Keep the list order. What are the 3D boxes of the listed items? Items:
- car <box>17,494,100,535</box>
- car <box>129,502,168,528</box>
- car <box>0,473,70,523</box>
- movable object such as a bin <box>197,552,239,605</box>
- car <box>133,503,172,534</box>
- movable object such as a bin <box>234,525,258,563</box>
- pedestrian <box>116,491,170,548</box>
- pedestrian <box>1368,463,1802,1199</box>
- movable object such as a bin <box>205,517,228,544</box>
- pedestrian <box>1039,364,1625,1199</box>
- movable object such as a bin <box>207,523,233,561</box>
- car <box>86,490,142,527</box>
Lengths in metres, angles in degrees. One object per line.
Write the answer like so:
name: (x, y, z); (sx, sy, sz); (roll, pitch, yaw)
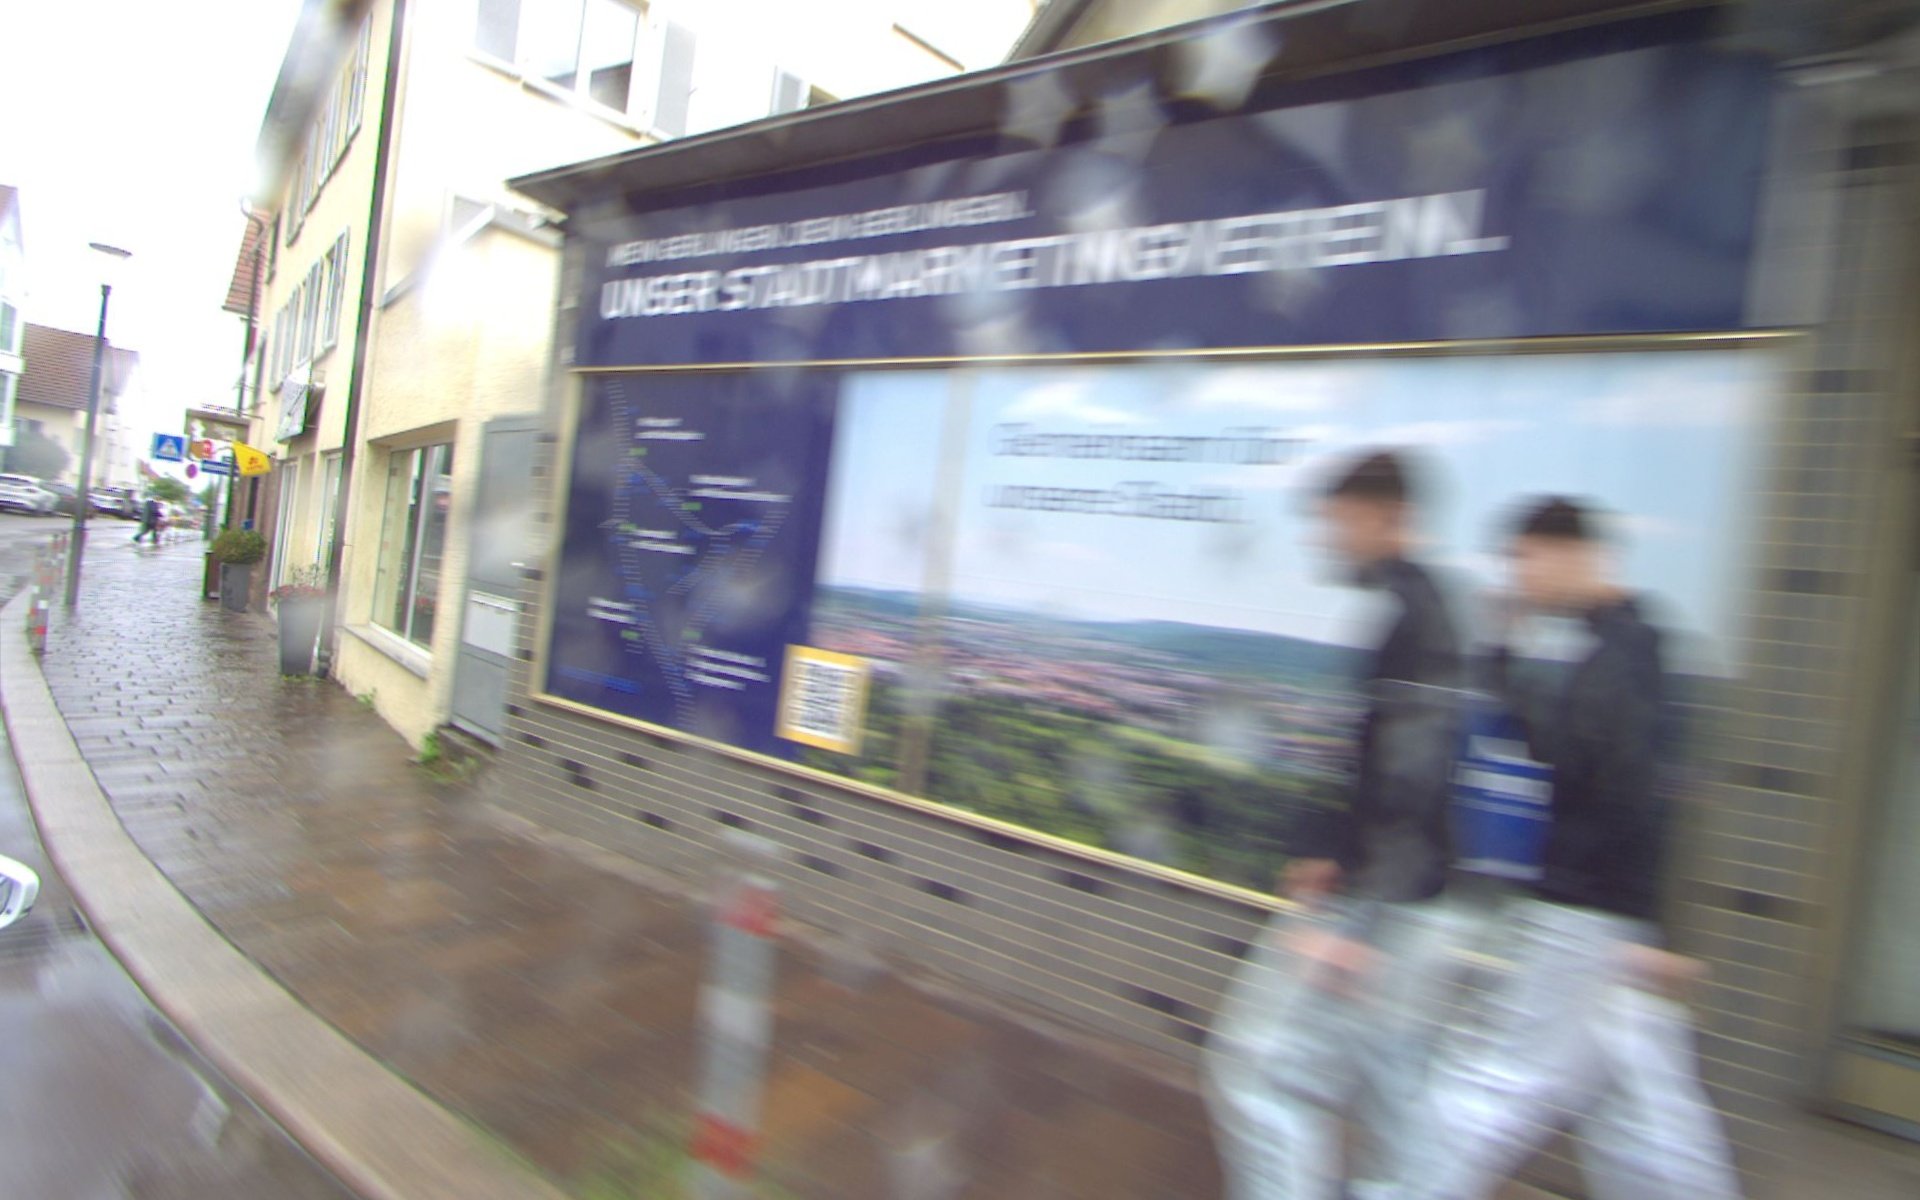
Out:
car: (-41.024, -3.849, 45.913); (1.817, 1.517, 4.725); (7, 0, -31)
car: (-54.505, -5.695, 67.646); (1.672, 1.405, 3.790); (8, -2, -35)
car: (-37.740, -4.116, 40.728); (1.780, 1.568, 3.967); (9, -3, -32)
movable object such as a bin: (-13.170, -0.380, 17.856); (0.543, 0.847, 0.900); (4, 2, -38)
car: (-57.890, -5.824, 72.177); (1.713, 1.846, 4.389); (8, -2, -34)
movable object such as a bin: (-21.468, -1.678, 30.262); (0.497, 1.069, 0.544); (5, 0, -33)
pedestrian: (-27.016, -2.655, 33.284); (1.170, 1.719, 1.166); (6, 1, -35)
pedestrian: (1.473, 0.684, 2.463); (0.648, 1.927, 0.654); (6, 2, 31)
movable object such as a bin: (-33.219, -3.112, 44.941); (0.671, 1.099, 0.712); (7, 0, -31)
pedestrian: (0.746, 0.610, 2.027); (0.792, 1.927, 0.773); (6, -1, 31)
movable object such as a bin: (-21.976, -1.706, 29.881); (0.497, 1.069, 0.544); (5, 0, -33)
car: (-47.469, -5.095, 56.532); (1.769, 1.587, 4.370); (8, -2, -34)
